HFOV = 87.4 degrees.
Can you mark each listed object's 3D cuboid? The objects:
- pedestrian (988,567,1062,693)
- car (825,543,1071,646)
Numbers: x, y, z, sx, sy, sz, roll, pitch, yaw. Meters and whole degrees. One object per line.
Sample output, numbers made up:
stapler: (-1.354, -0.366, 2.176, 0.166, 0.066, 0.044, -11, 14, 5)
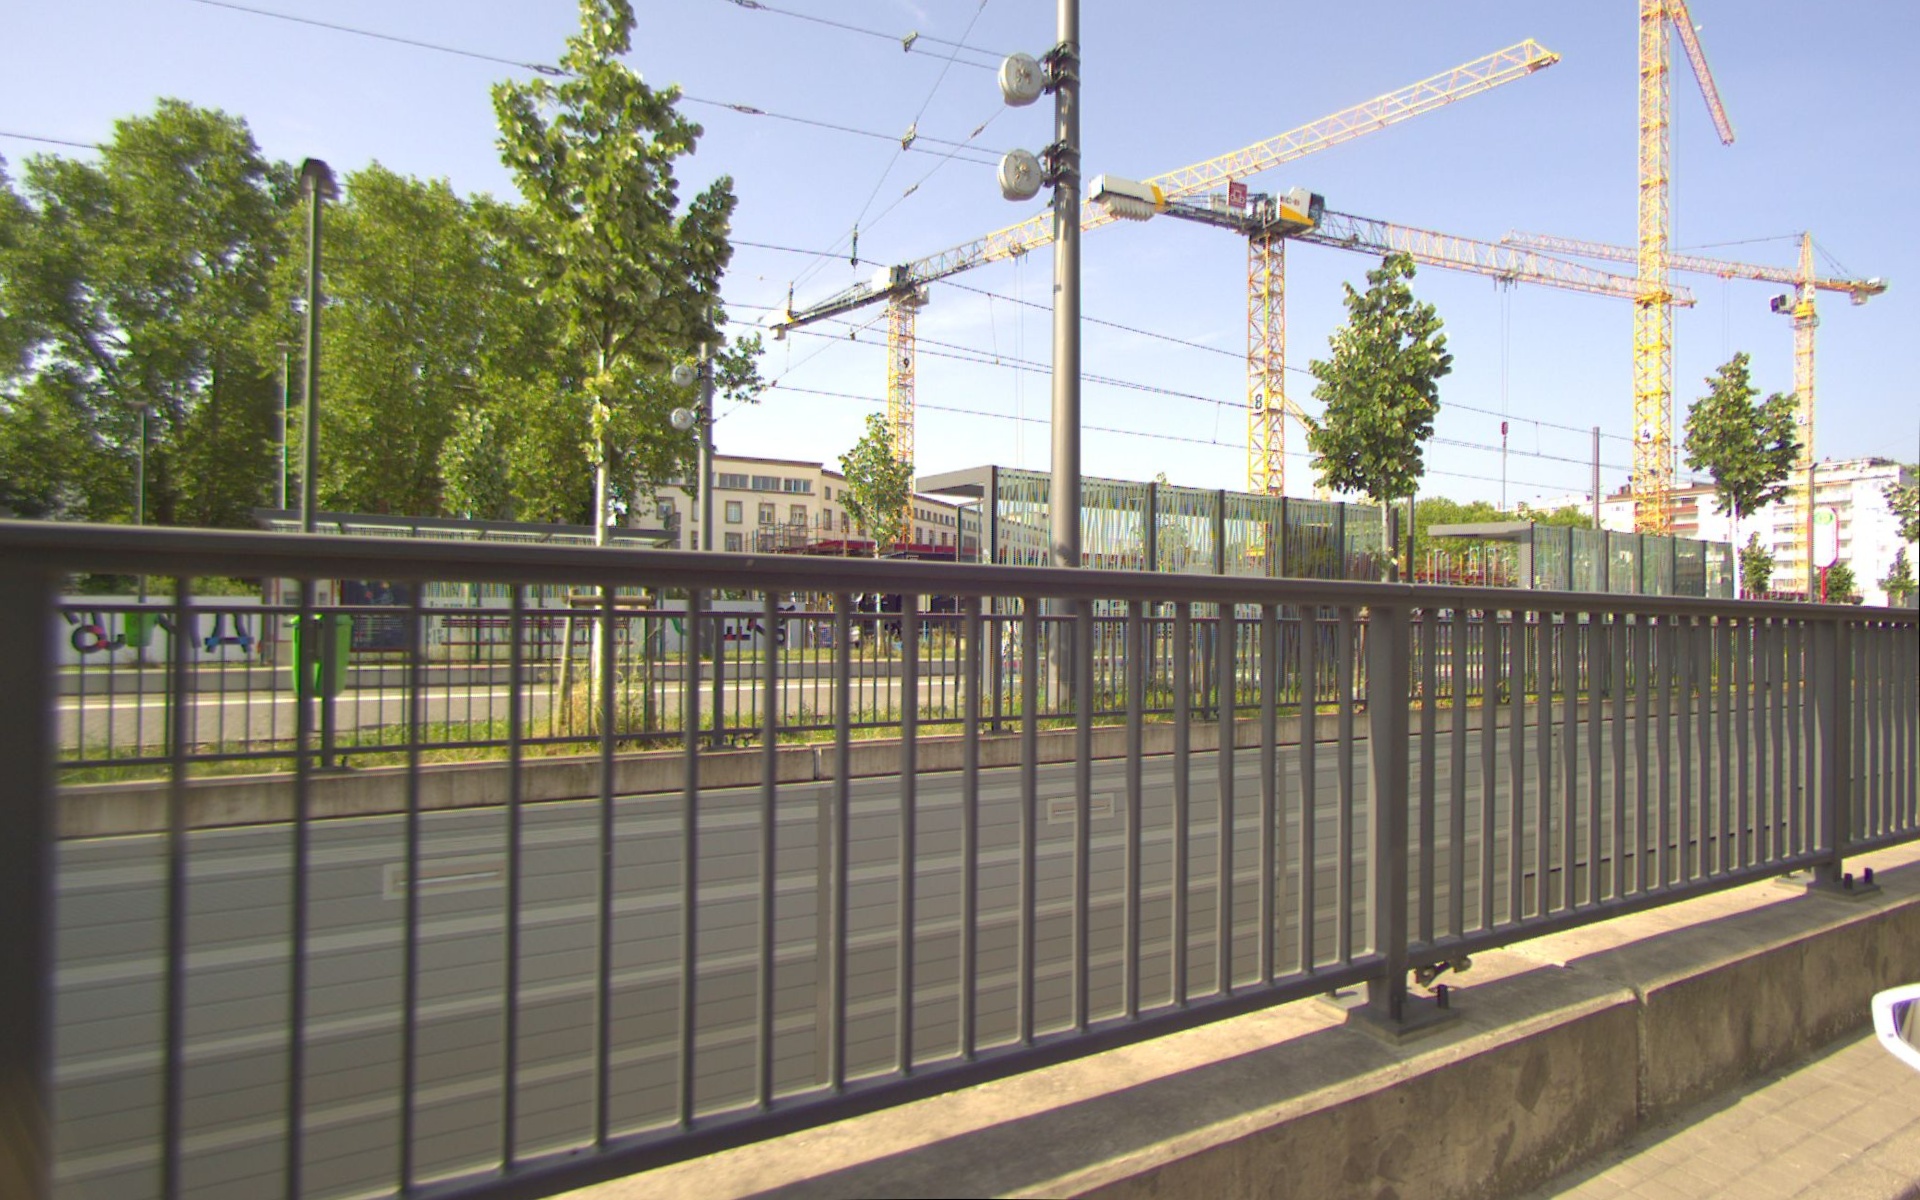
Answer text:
pedestrian: (0.871, 0.397, 13.543, 0.702, 1.640, 0.732, 1, -1, -30)
car: (-0.326, -0.118, 38.489, 9.126, 3.559, 3.039, 1, 0, -31)
